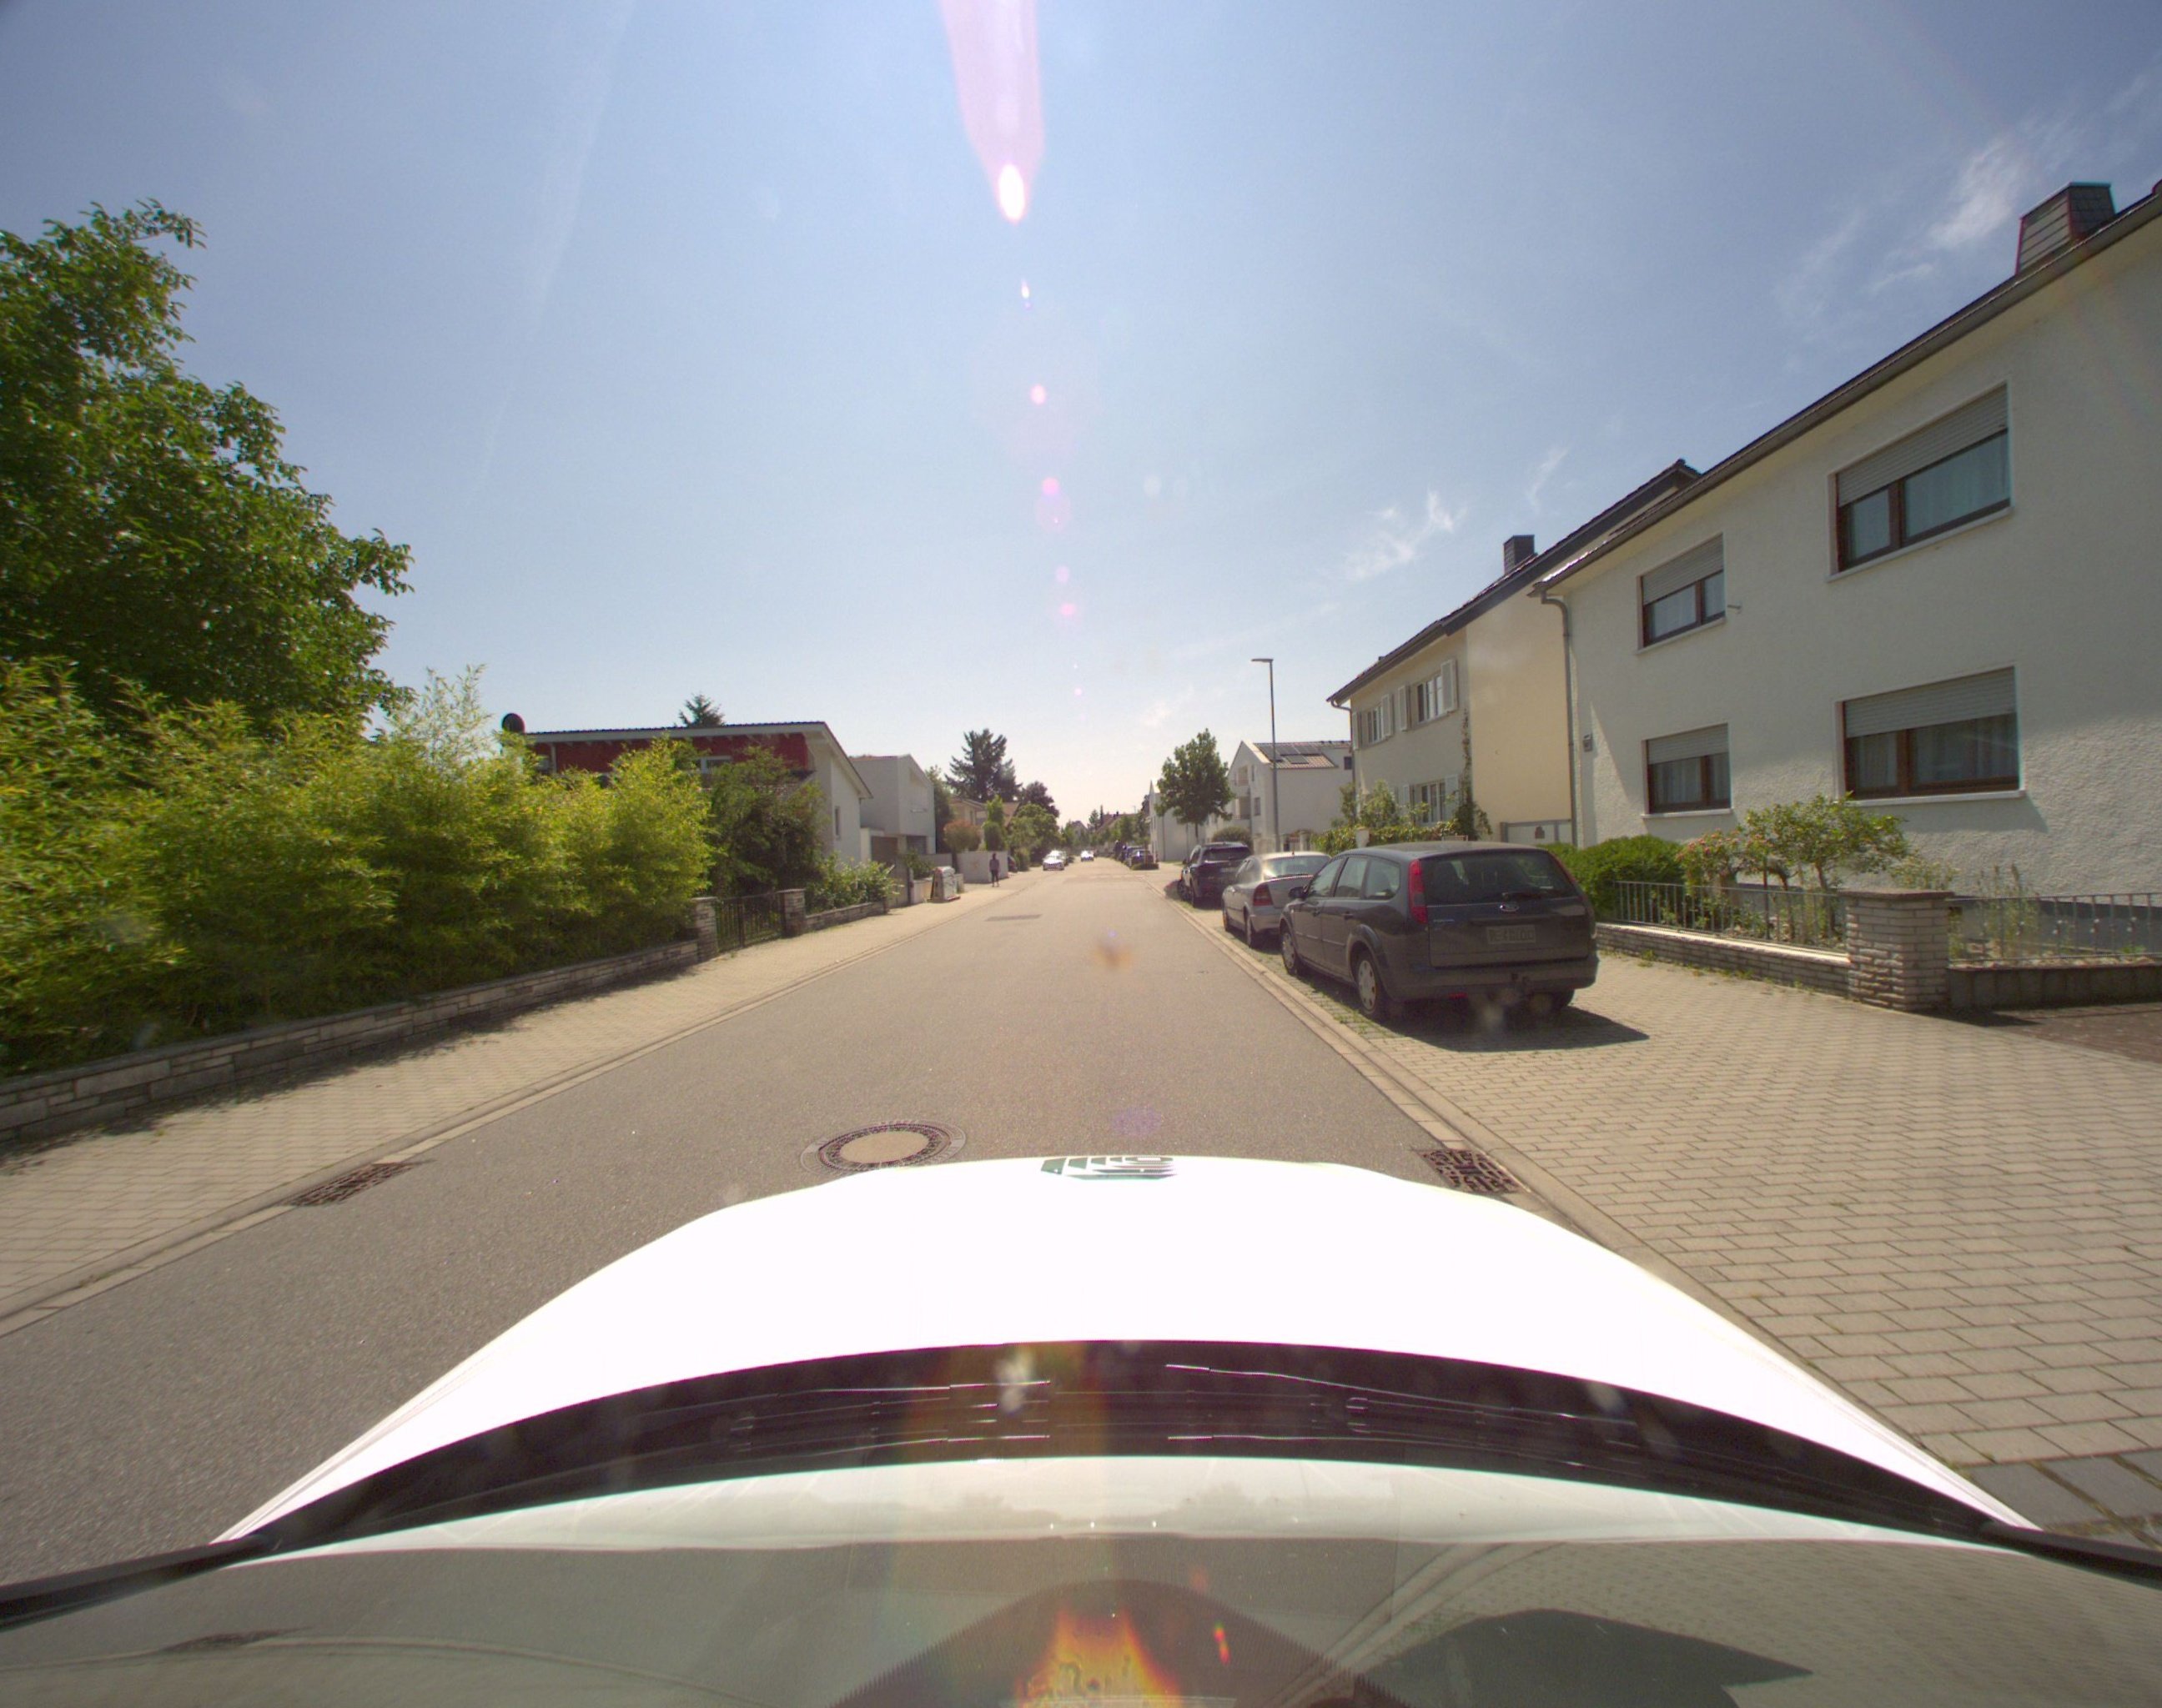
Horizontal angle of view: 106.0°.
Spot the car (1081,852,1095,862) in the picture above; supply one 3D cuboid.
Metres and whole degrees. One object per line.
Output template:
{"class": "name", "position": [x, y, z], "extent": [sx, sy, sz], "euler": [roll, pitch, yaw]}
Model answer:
{"class": "car", "position": [1.048, 0.425, 122.815], "extent": [1.845, 1.478, 4.704], "euler": [-2, 0, 3]}

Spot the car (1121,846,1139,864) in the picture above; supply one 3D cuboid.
{"class": "car", "position": [5.866, 0.101, 97.979], "extent": [1.986, 1.947, 5.216], "euler": [-4, 0, 2]}

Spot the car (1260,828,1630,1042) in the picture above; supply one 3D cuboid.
{"class": "car", "position": [3.238, 0.601, 8.363], "extent": [1.736, 1.533, 4.448], "euler": [-2, 0, 0]}

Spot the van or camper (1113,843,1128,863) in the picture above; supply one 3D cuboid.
{"class": "van or camper", "position": [5.898, -0.161, 122.562], "extent": [1.986, 2.941, 4.001], "euler": [-2, 0, 1]}

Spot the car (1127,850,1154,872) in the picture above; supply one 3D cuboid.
{"class": "car", "position": [4.840, 0.549, 66.617], "extent": [1.768, 1.595, 4.277], "euler": [-2, 0, -1]}

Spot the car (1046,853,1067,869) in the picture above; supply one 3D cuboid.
{"class": "car", "position": [-2.686, 0.740, 90.146], "extent": [1.920, 1.687, 4.500], "euler": [-2, 0, 2]}

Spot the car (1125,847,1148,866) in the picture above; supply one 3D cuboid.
{"class": "car", "position": [5.635, 0.241, 83.365], "extent": [2.091, 1.882, 4.845], "euler": [-3, 0, 2]}

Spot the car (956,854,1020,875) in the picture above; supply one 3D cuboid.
{"class": "car", "position": [-6.934, 0.758, 60.984], "extent": [4.407, 1.473, 1.853], "euler": [1, 0, 5]}

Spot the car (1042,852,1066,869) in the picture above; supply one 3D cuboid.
{"class": "car", "position": [-2.446, 0.573, 75.193], "extent": [1.845, 1.488, 4.387], "euler": [-2, 0, 2]}

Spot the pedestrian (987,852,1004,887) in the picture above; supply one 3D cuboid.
{"class": "pedestrian", "position": [-4.402, 0.780, 41.948], "extent": [0.712, 1.747, 0.961], "euler": [-2, 0, 2]}

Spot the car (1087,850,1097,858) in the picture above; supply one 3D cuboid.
{"class": "car", "position": [2.277, -0.042, 169.171], "extent": [1.985, 1.430, 4.003], "euler": [-3, 0, 3]}

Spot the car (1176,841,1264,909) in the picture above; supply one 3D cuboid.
{"class": "car", "position": [3.807, 0.508, 23.031], "extent": [1.807, 1.656, 4.567], "euler": [-3, 1, 2]}

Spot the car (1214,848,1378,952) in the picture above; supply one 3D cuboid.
{"class": "car", "position": [3.457, 0.658, 13.892], "extent": [1.807, 1.420, 4.095], "euler": [-3, 0, 2]}
